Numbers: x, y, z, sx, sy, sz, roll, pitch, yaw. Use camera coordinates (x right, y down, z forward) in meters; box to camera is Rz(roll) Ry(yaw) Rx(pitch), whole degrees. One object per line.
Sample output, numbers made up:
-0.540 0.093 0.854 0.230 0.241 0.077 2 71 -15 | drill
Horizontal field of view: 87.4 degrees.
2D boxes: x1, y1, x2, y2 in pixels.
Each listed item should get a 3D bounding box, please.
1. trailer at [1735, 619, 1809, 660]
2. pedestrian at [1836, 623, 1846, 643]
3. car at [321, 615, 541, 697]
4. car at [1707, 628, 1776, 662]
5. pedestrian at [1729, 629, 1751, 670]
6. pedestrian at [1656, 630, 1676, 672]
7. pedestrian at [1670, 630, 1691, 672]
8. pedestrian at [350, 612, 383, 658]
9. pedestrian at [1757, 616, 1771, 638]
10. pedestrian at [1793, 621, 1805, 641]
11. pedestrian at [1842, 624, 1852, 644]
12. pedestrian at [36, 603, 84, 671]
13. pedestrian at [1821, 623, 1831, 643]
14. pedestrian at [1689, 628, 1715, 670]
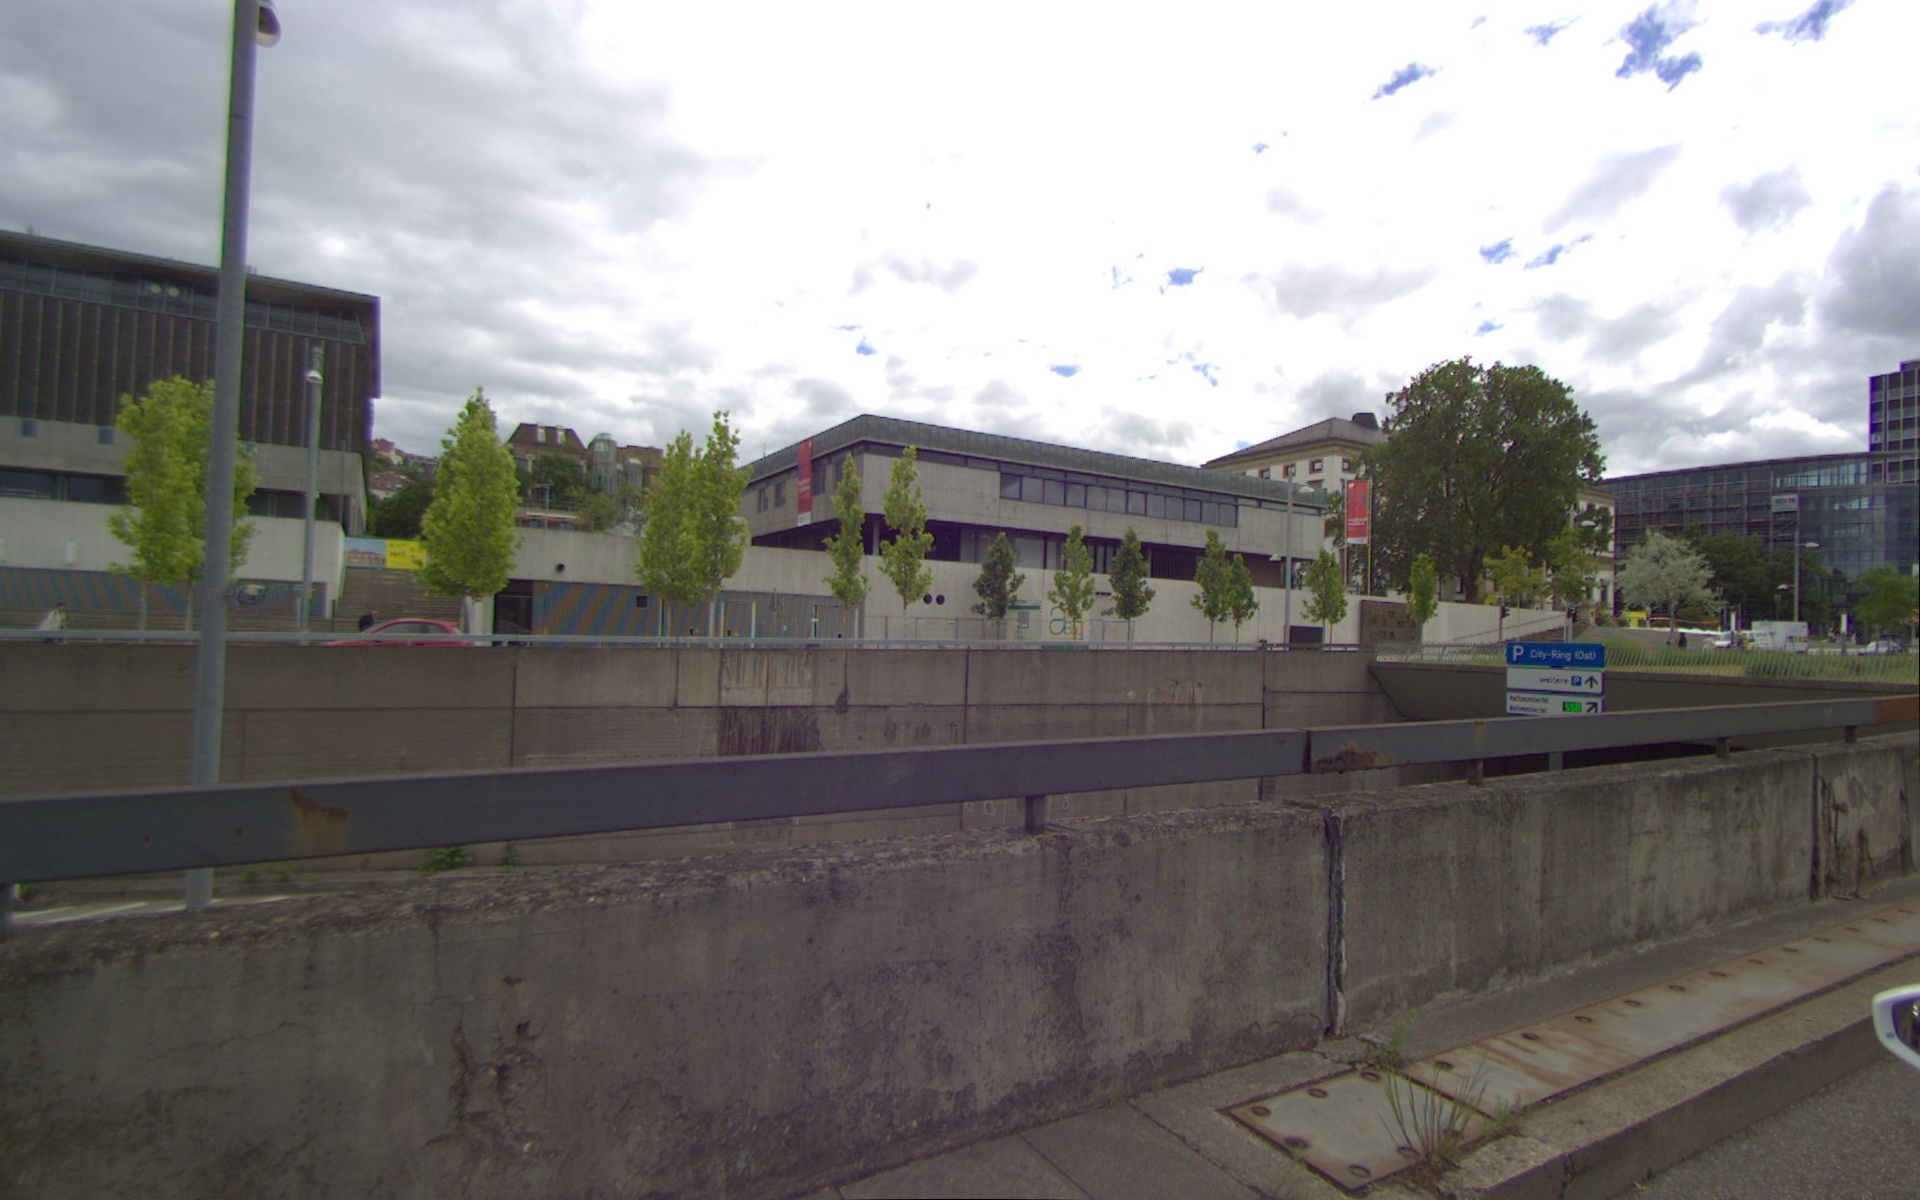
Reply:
55.129 2.642 68.185 5.443 2.640 2.028 1 1 -30 | trailer
90.003 3.370 102.595 0.731 2.040 0.788 -1 -1 45 | pedestrian
-13.259 1.364 25.267 4.687 1.879 2.161 2 -1 -34 | car
50.892 2.888 65.404 4.635 2.040 1.985 0 0 -30 | car
39.990 2.524 51.518 0.623 2.041 0.724 -4 2 -37 | pedestrian
34.848 2.482 49.599 0.780 2.040 0.834 -1 -1 35 | pedestrian
35.522 2.518 49.524 0.779 2.040 0.834 -1 -1 33 | pedestrian
-21.666 1.282 36.688 0.777 1.664 0.740 0 -1 -2 | pedestrian
75.966 2.574 94.863 1.103 2.040 0.734 0 -1 -35 | pedestrian
86.696 3.231 103.814 0.783 2.040 0.735 0 -1 -29 | pedestrian
89.329 3.442 101.139 0.730 2.040 0.916 -1 -1 41 | pedestrian
-27.241 1.113 30.421 0.777 2.040 0.741 0 -1 2 | pedestrian
86.892 3.308 100.791 0.730 2.040 0.916 -1 -1 41 | pedestrian
36.768 2.418 49.776 0.618 2.040 0.860 0 -1 -14 | pedestrian
